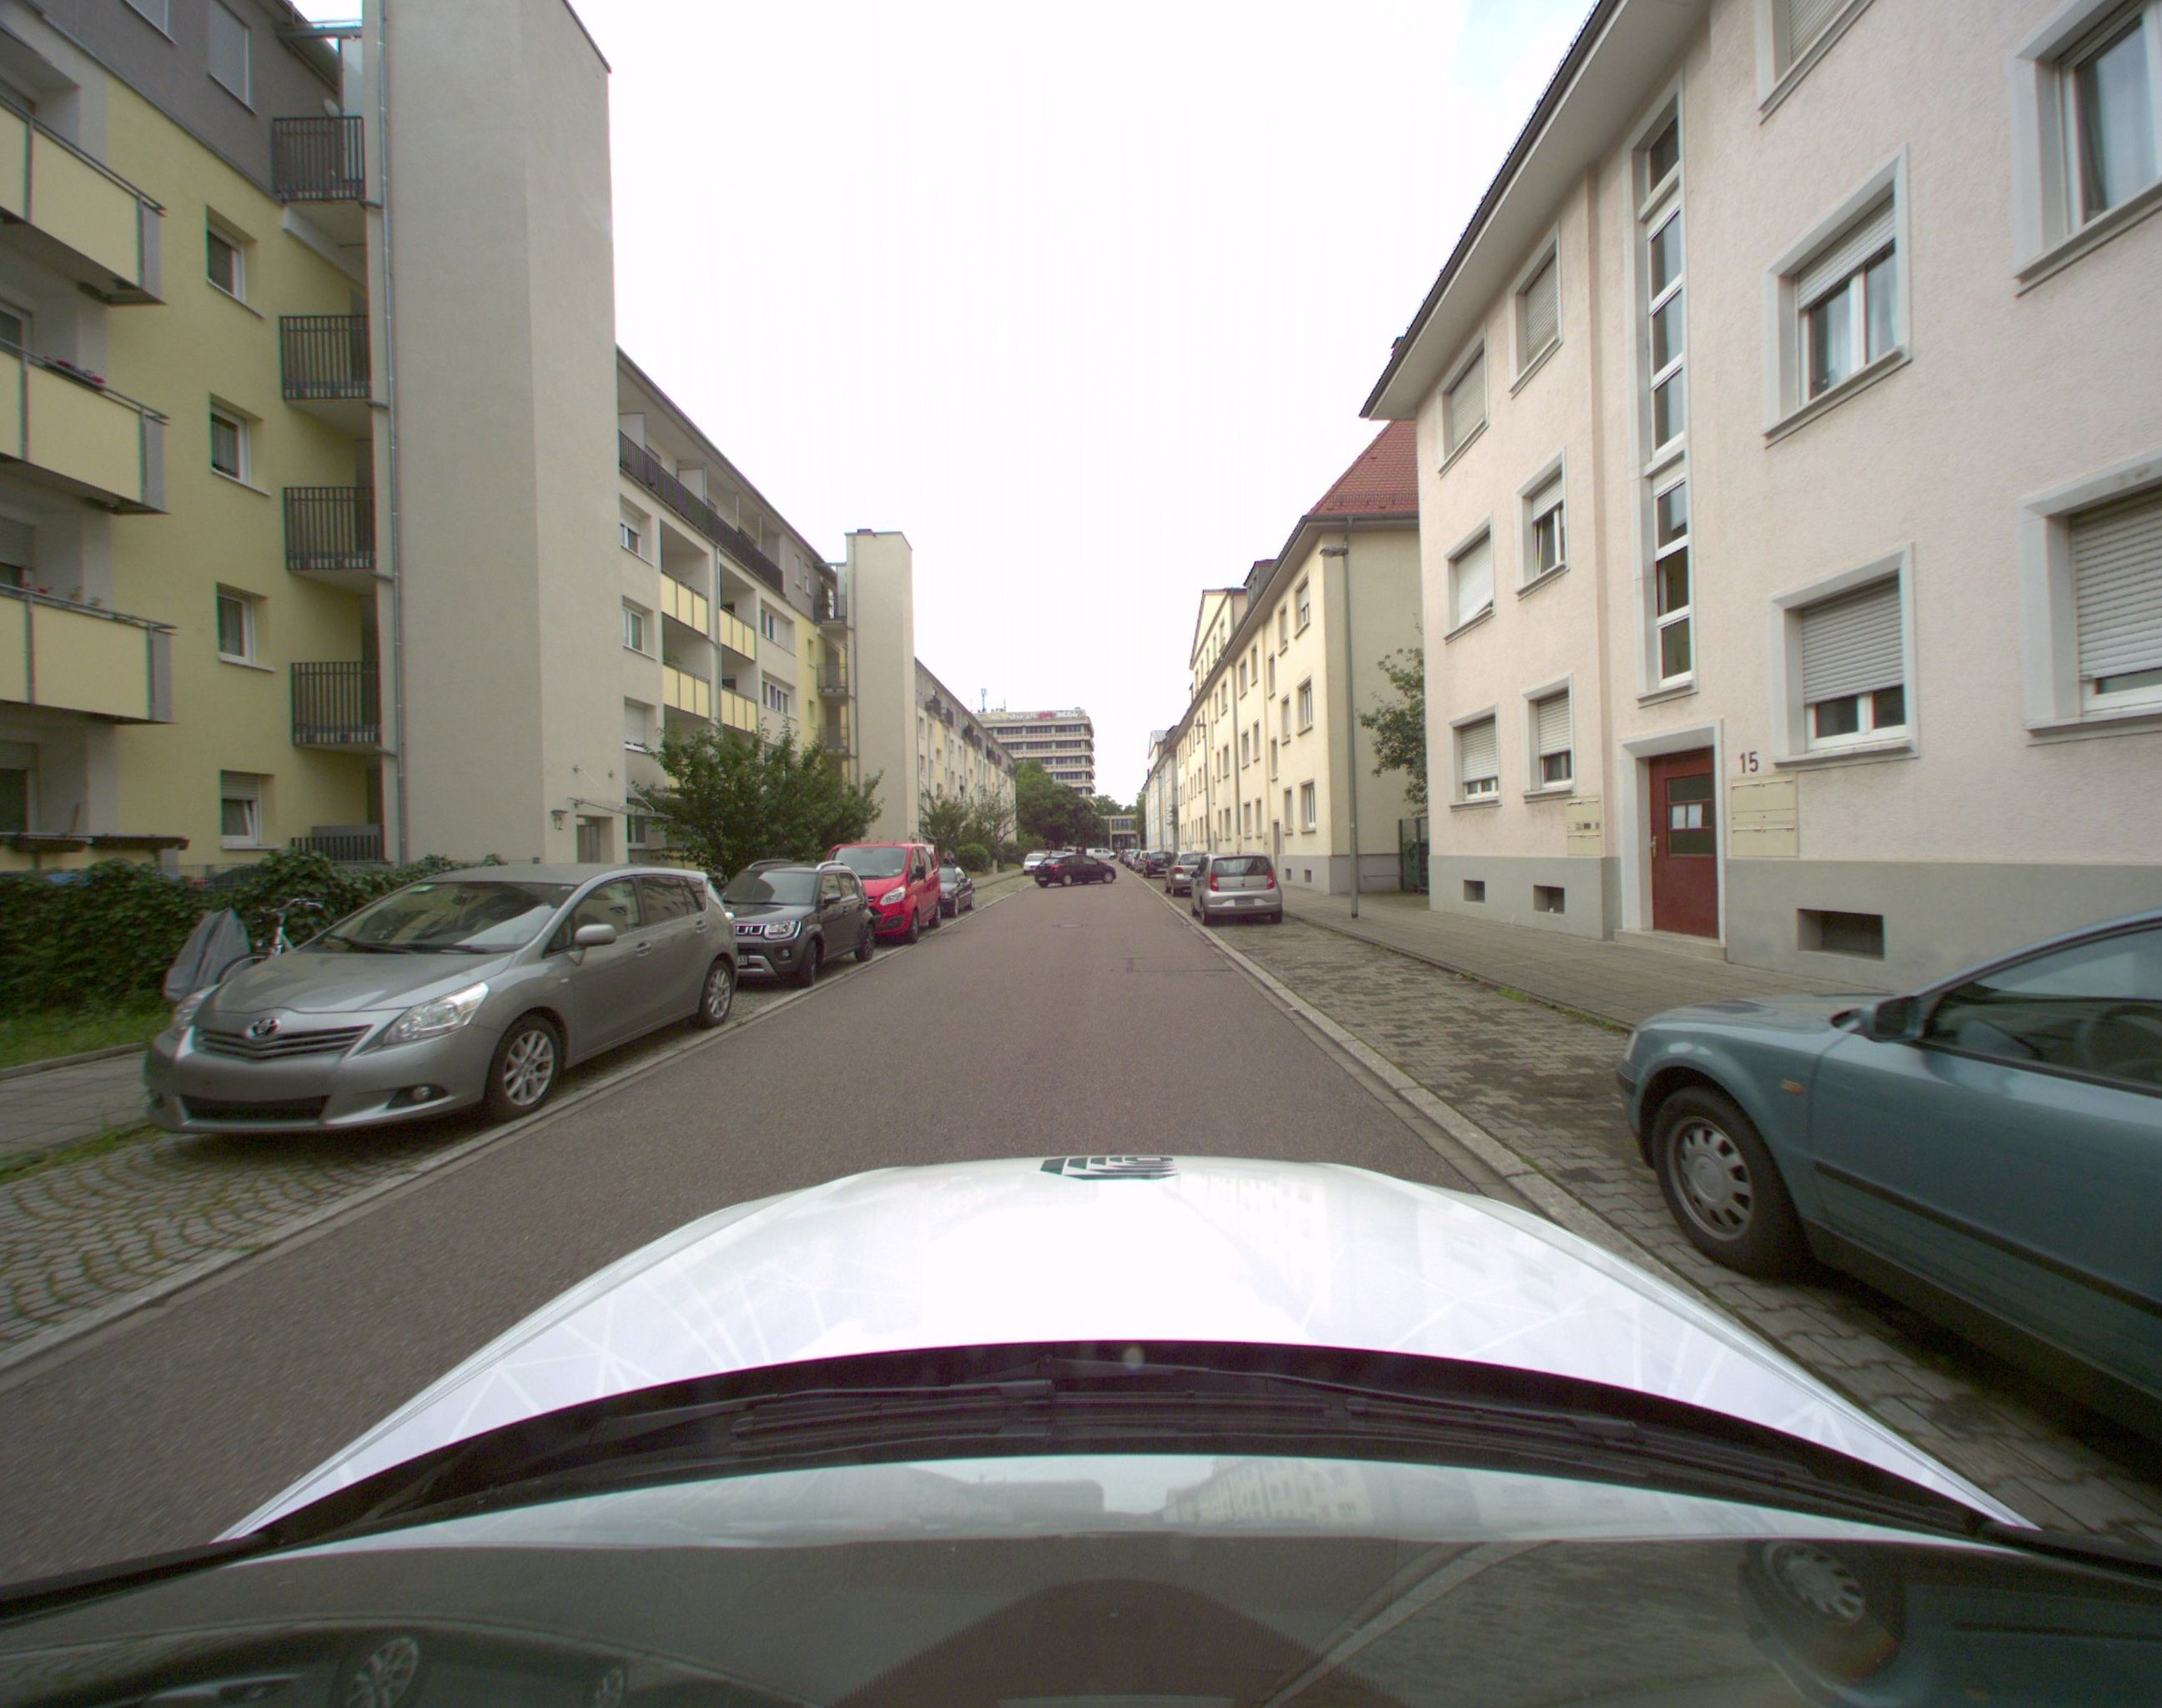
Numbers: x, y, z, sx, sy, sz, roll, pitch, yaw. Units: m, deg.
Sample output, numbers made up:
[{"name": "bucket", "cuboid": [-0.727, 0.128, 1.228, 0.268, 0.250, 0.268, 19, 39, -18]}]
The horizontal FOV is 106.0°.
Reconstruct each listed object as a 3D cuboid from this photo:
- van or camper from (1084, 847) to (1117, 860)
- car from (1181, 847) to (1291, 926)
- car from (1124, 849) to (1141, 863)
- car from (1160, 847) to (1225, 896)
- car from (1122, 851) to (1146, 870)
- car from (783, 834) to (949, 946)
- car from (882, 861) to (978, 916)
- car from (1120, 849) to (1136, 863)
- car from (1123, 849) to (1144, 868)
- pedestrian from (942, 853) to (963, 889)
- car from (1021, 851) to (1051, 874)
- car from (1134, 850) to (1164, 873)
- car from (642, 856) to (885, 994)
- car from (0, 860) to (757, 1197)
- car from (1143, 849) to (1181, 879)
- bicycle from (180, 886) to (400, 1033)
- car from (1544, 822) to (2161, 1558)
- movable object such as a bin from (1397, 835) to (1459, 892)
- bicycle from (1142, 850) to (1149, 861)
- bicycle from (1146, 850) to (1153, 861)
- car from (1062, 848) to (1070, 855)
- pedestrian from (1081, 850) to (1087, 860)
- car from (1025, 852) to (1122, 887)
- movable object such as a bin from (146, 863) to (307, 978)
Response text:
[{"name": "van or camper", "cuboid": [3.131, -0.079, 130.113, 5.159, 2.013, 1.998, -2, 0, -3]}, {"name": "car", "cuboid": [3.289, 0.624, 18.048, 1.719, 1.492, 4.062, -2, 0, 1]}, {"name": "car", "cuboid": [5.753, 0.193, 90.797, 1.813, 1.503, 4.093, -2, 0, 2]}, {"name": "car", "cuboid": [3.772, 0.559, 28.151, 1.719, 1.517, 4.062, -2, 0, 1]}, {"name": "car", "cuboid": [4.256, 0.522, 65.841, 1.718, 1.476, 4.507, -1, 0, 2]}, {"name": "car", "cuboid": [-4.203, 0.629, 16.869, 2.145, 1.954, 4.920, 0, 0, -1]}, {"name": "car", "cuboid": [-4.121, 0.897, 22.929, 1.864, 1.323, 4.362, 0, 0, 0]}, {"name": "car", "cuboid": [5.470, 0.235, 95.553, 1.813, 1.603, 4.093, -2, 0, 2]}, {"name": "car", "cuboid": [4.803, 0.363, 74.493, 1.813, 1.642, 4.093, -2, 0, 2]}, {"name": "pedestrian", "cuboid": [-5.784, 0.759, 36.759, 0.798, 1.610, 0.946, -2, 0, -3]}, {"name": "car", "cuboid": [-3.141, 0.587, 57.505, 1.714, 1.570, 3.872, 0, 0, 2]}, {"name": "car", "cuboid": [4.583, 0.481, 55.400, 1.842, 1.450, 3.834, -2, 0, 2]}, {"name": "car", "cuboid": [-4.178, 0.829, 11.484, 1.714, 1.570, 4.055, 0, 0, 2]}, {"name": "car", "cuboid": [-4.422, 0.870, 6.398, 1.829, 1.570, 4.860, 0, 0, -1]}, {"name": "car", "cuboid": [4.441, 0.537, 45.153, 1.719, 1.517, 4.062, -2, 0, 1]}, {"name": "bicycle", "cuboid": [-7.623, 0.952, 7.974, 0.551, 1.192, 1.725, -2, 0, -6]}, {"name": "car", "cuboid": [3.006, 0.651, 1.686, 1.719, 1.469, 4.265, -2, 0, 1]}, {"name": "movable object such as a bin", "cuboid": [9.211, 0.231, 21.673, 1.157, 1.443, 1.150, -2, 0, 1]}, {"name": "bicycle", "cuboid": [7.064, 0.192, 89.111, 0.527, 1.175, 2.041, -3, 0, 8]}, {"name": "bicycle", "cuboid": [7.495, 0.188, 89.067, 0.573, 1.175, 2.041, -3, 0, 7]}, {"name": "car", "cuboid": [-3.243, -0.527, 177.266, 1.659, 1.333, 3.397, -1, 1, 2]}, {"name": "pedestrian", "cuboid": [0.480, 0.095, 136.204, 0.968, 1.654, 0.981, -2, 0, 1]}, {"name": "car", "cuboid": [-0.306, 0.699, 37.690, 4.255, 1.433, 1.887, -2, 0, -41]}, {"name": "movable object such as a bin", "cuboid": [-10.705, 0.799, 10.253, 0.890, 1.324, 1.037, -2, 0, 0]}]
